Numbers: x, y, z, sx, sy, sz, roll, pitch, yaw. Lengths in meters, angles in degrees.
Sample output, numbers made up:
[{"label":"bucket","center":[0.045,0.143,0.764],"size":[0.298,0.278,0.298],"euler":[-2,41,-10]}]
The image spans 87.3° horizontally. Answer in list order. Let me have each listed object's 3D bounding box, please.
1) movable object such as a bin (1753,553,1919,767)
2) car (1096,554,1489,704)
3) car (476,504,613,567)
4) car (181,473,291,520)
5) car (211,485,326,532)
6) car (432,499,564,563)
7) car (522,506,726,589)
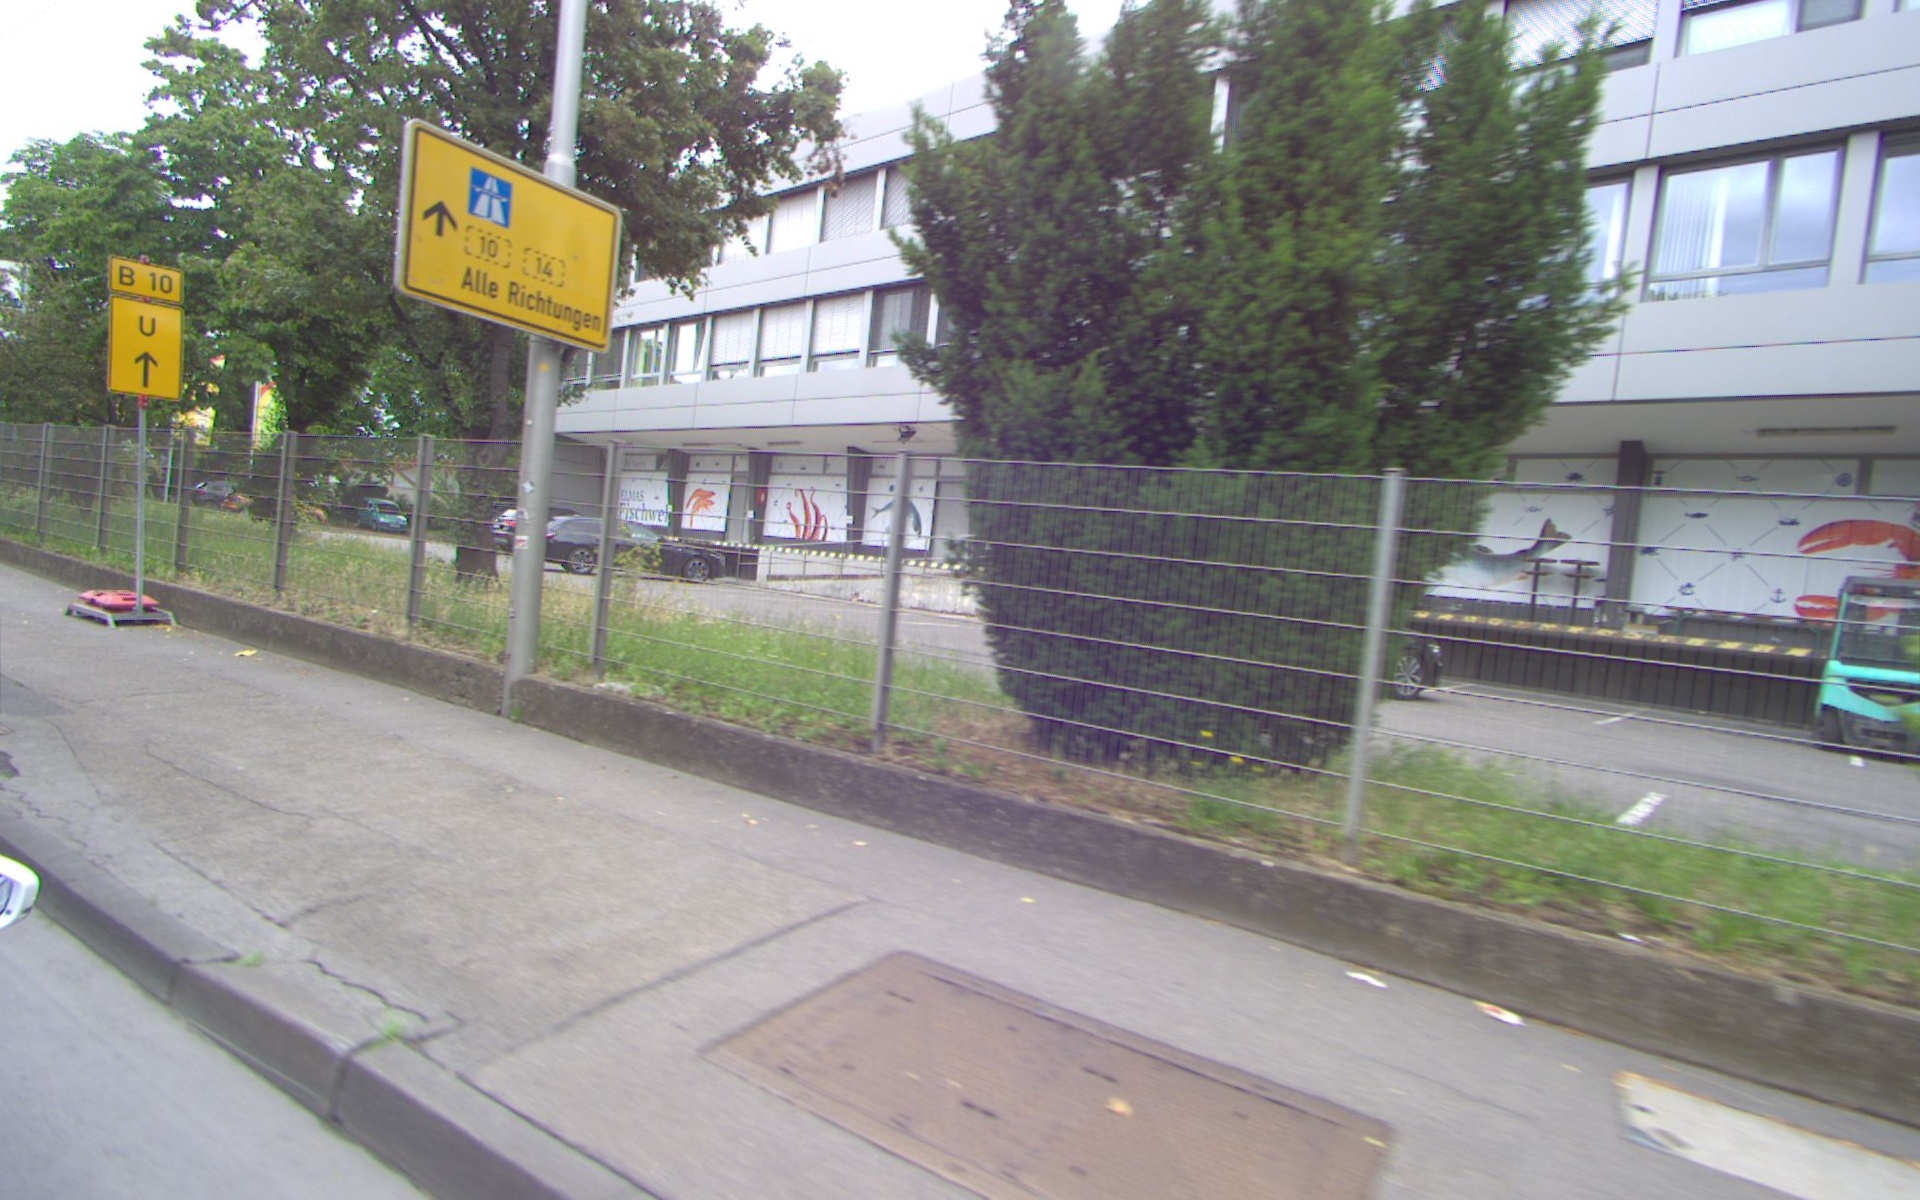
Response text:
[{"label":"movable object such as a bin","center":[11.897,0.788,13.264],"size":[1.922,2.336,3.982],"euler":[8,2,37]},{"label":"car","center":[4.421,0.372,13.576],"size":[4.620,1.493,1.992],"euler":[5,2,-16]},{"label":"car","center":[-13.689,-2.107,33.290],"size":[1.803,1.554,3.696],"euler":[8,2,39]},{"label":"car","center":[-35.284,-5.050,49.119],"size":[1.803,1.668,3.942],"euler":[8,2,39]},{"label":"car","center":[-31.729,-4.176,46.240],"size":[1.803,1.554,3.942],"euler":[8,2,39]},{"label":"car","center":[-16.148,-2.396,35.295],"size":[1.831,1.695,3.696],"euler":[8,2,39]},{"label":"car","center":[-8.960,-1.382,26.876],"size":[4.804,1.554,2.008],"euler":[6,2,-29]}]
